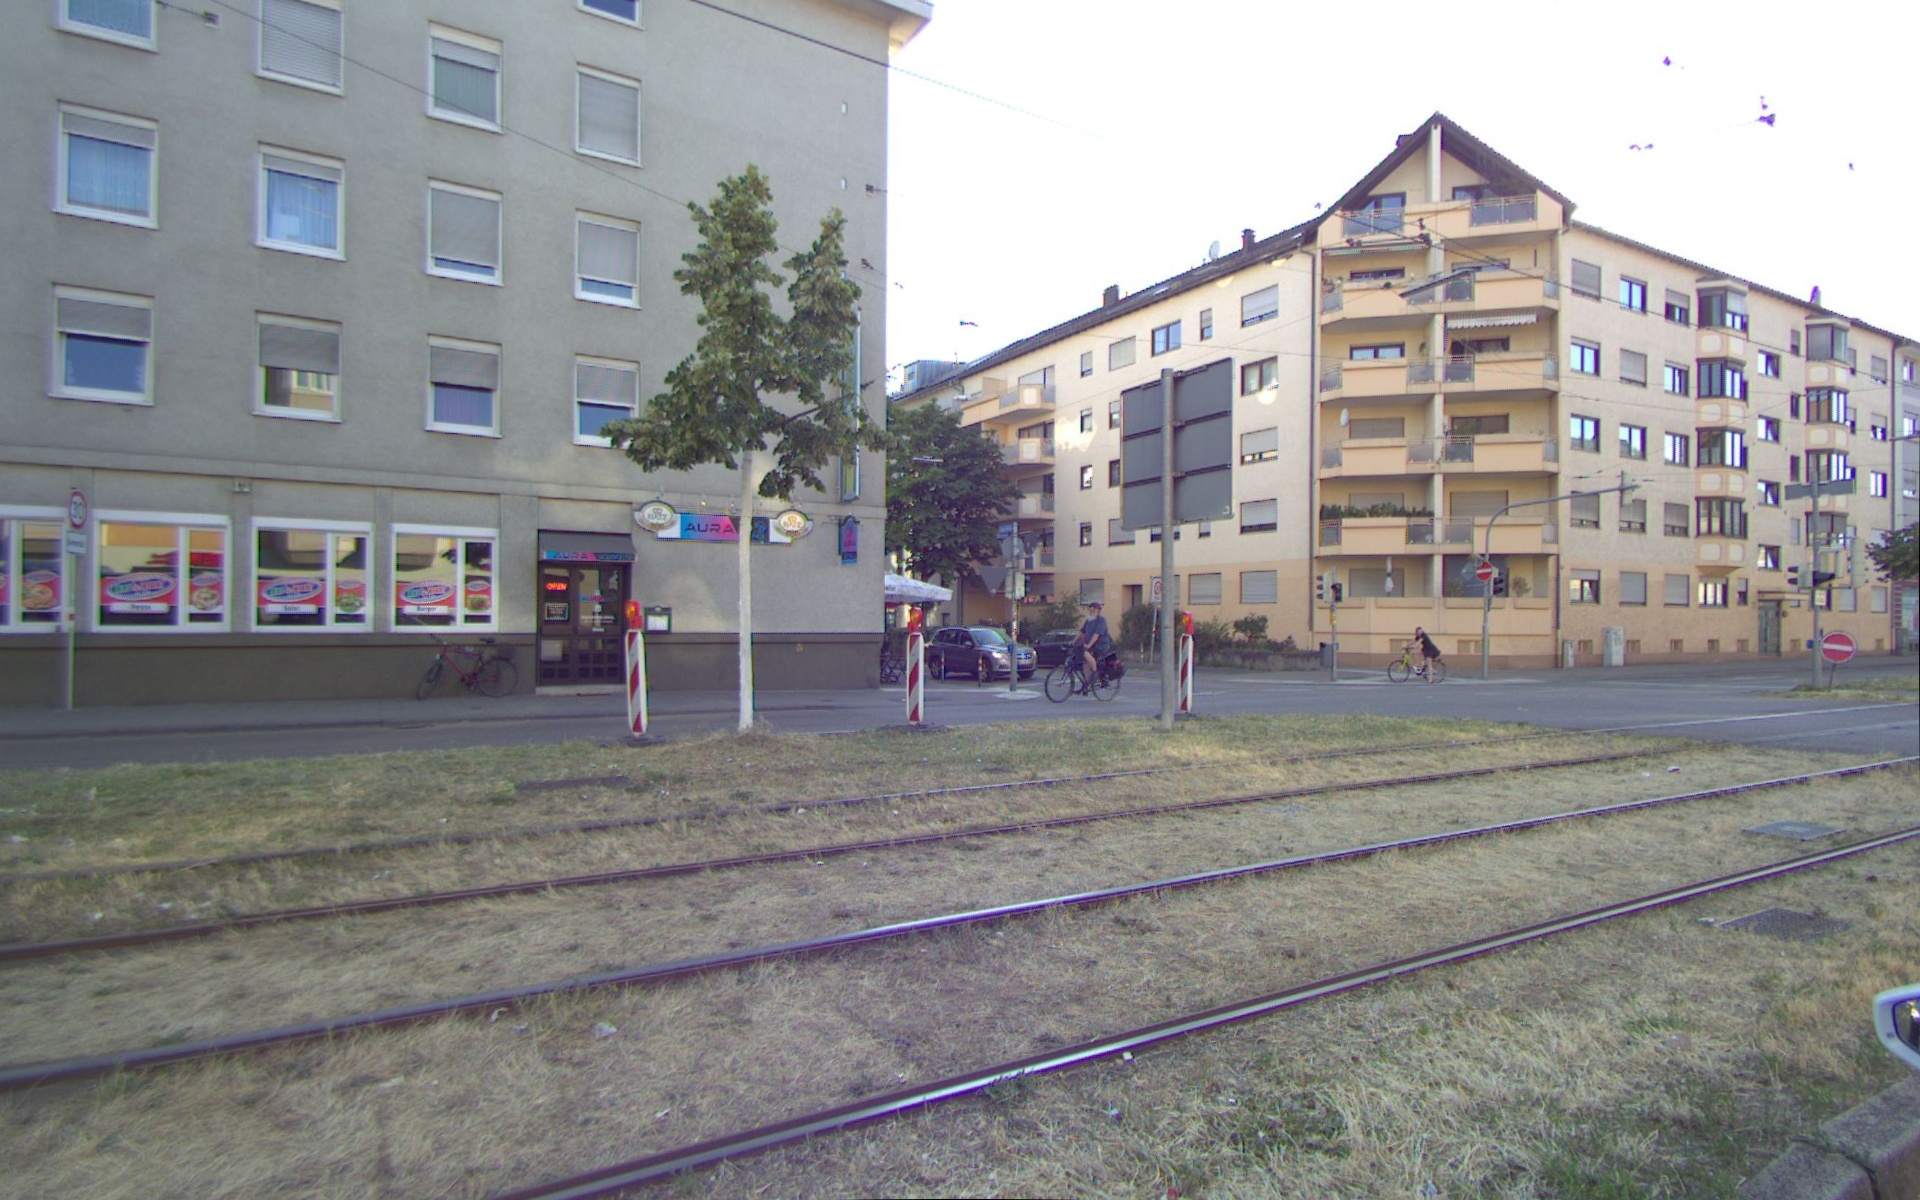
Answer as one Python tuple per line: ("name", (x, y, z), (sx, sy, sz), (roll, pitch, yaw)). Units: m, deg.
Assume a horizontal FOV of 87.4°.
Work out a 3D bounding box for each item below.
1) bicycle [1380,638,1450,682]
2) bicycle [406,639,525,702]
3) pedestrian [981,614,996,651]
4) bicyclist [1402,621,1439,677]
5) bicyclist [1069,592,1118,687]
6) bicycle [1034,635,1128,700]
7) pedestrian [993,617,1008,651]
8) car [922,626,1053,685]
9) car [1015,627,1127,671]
("bicycle", (13.303, 1.752, 29.363), (1.833, 1.274, 0.457), (0, 0, 3))
("bicycle", (-8.684, 1.224, 17.673), (1.823, 1.037, 0.605), (2, 0, -31))
("pedestrian", (1.384, 1.549, 48.152), (0.456, 1.727, 0.589), (2, 0, -24))
("bicyclist", (13.463, 1.425, 29.372), (0.793, 1.607, 0.628), (0, 0, 4))
("bicyclist", (2.704, 0.787, 20.431), (0.795, 1.908, 0.651), (0, 1, -13))
("bicycle", (2.449, 1.349, 20.300), (1.838, 1.274, 0.455), (0, 0, -13))
("pedestrian", (1.937, 1.632, 48.350), (0.509, 1.573, 0.547), (2, 0, -24))
("car", (0.794, 1.686, 31.487), (1.980, 1.645, 4.156), (-1, 0, -36))
("car", (4.102, 1.791, 37.638), (1.982, 1.462, 3.957), (-2, 0, -38))
